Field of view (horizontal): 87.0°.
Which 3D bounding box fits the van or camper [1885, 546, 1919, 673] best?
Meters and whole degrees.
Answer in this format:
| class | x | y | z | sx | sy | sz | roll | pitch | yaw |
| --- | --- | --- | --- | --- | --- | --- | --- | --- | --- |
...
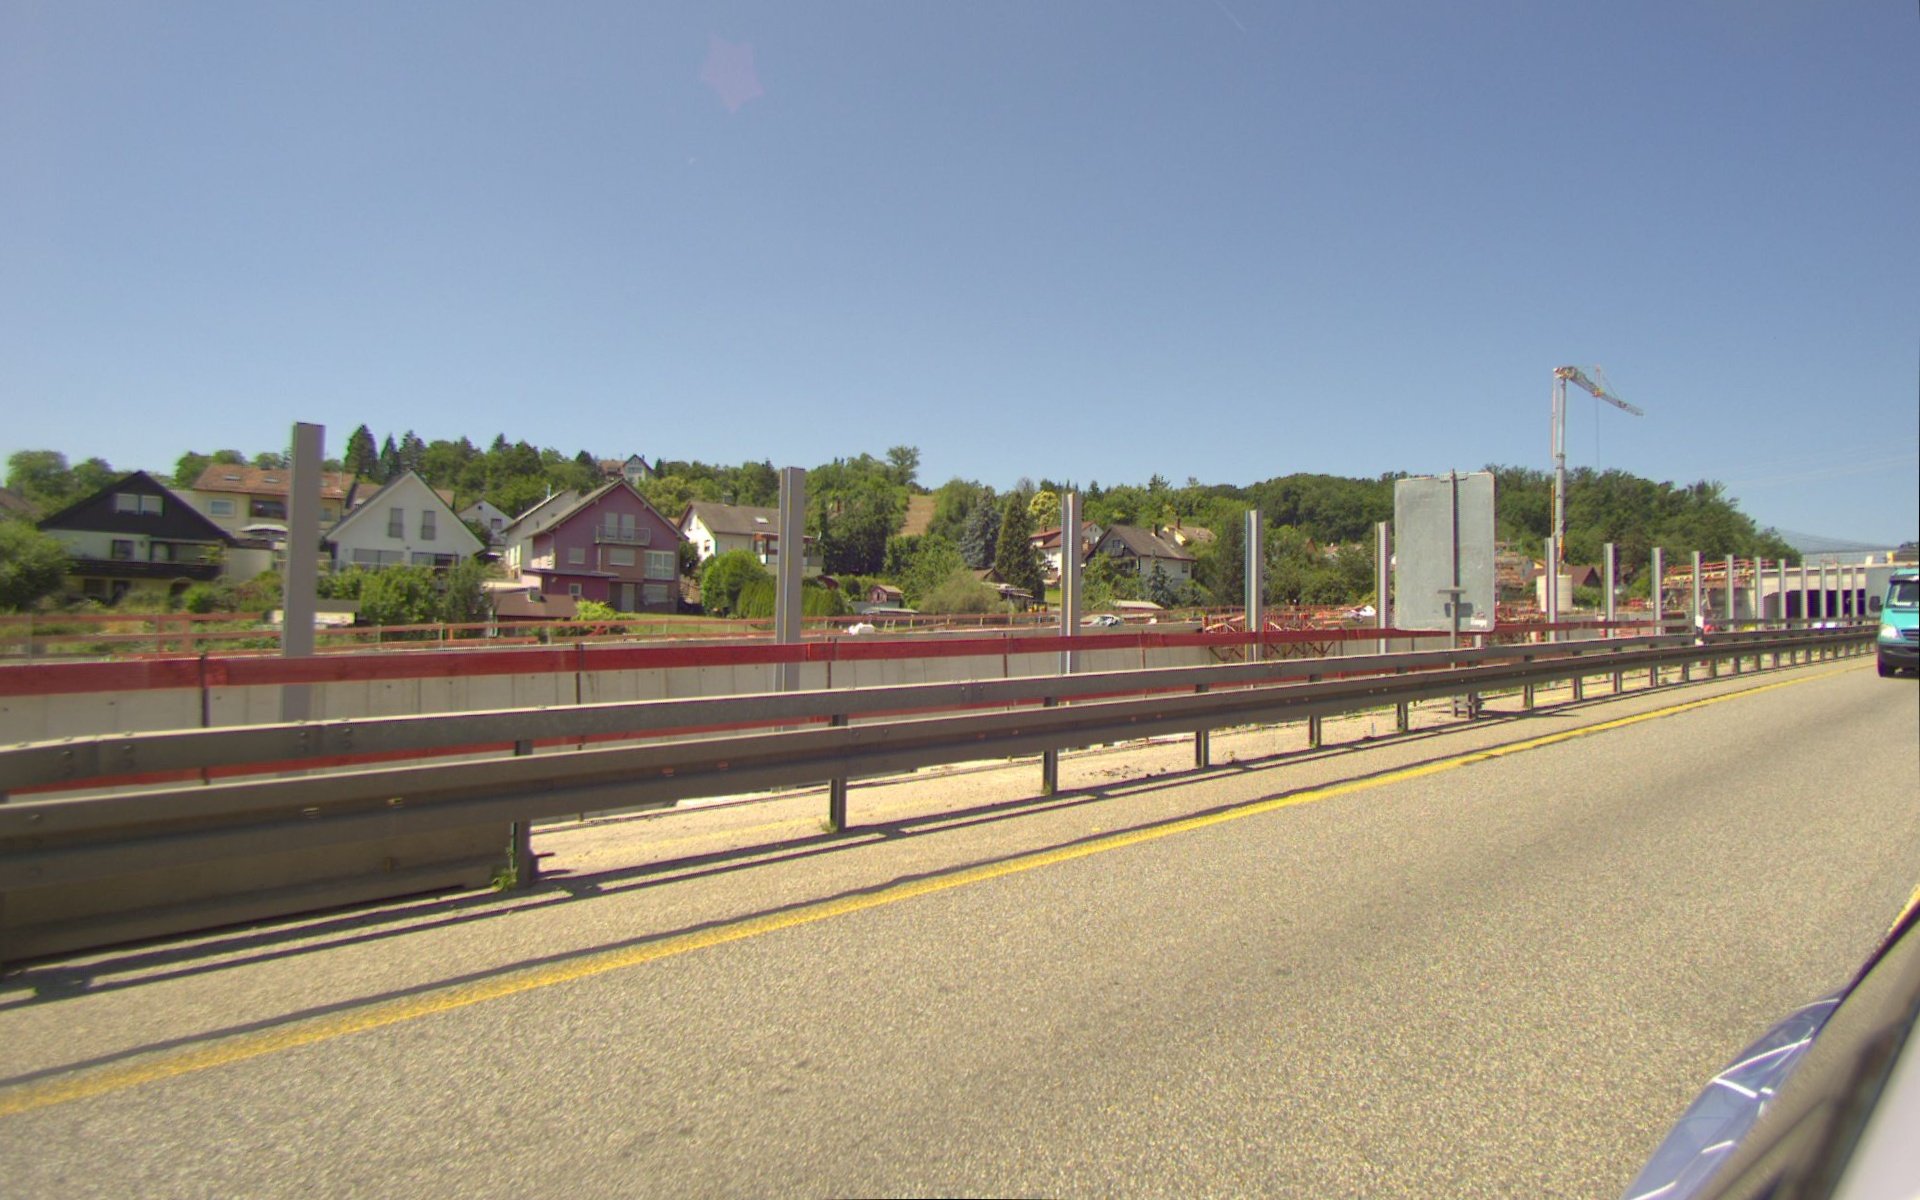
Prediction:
| class | x | y | z | sx | sy | sz | roll | pitch | yaw |
| --- | --- | --- | --- | --- | --- | --- | --- | --- | --- |
| van or camper | 22.104 | 0.191 | 21.986 | 7.536 | 2.504 | 2.096 | 0 | 0 | -41 |
